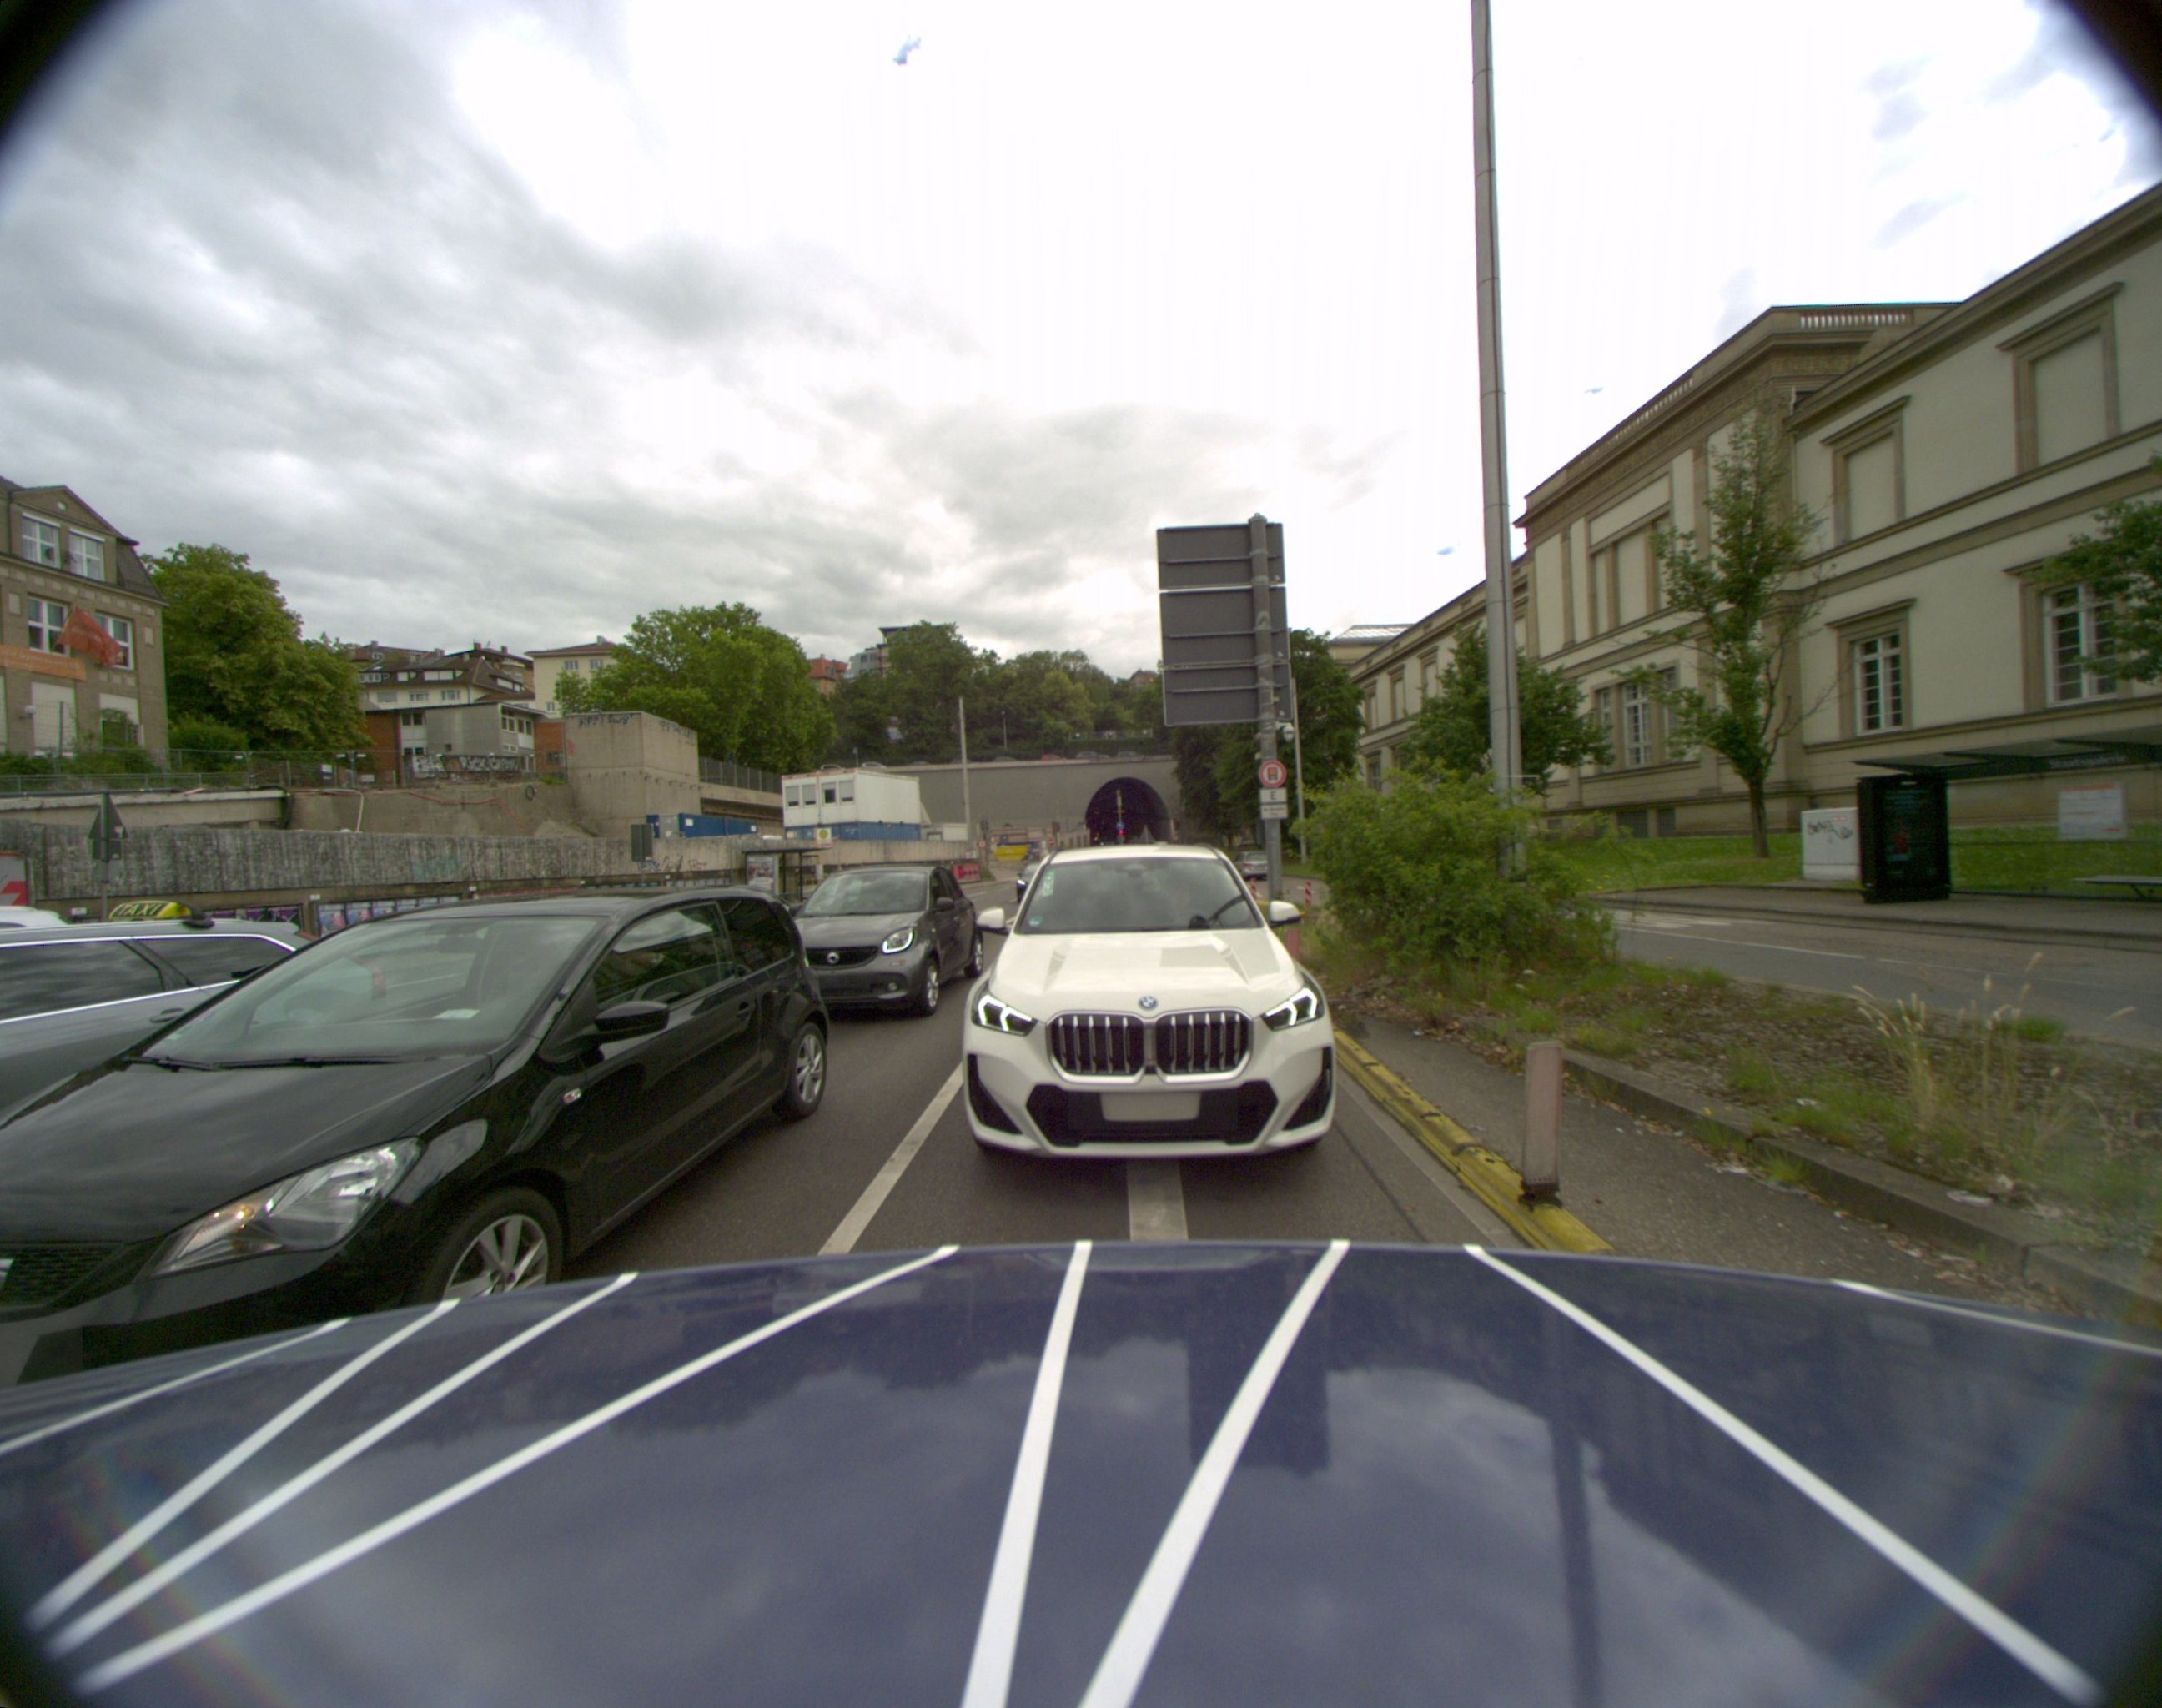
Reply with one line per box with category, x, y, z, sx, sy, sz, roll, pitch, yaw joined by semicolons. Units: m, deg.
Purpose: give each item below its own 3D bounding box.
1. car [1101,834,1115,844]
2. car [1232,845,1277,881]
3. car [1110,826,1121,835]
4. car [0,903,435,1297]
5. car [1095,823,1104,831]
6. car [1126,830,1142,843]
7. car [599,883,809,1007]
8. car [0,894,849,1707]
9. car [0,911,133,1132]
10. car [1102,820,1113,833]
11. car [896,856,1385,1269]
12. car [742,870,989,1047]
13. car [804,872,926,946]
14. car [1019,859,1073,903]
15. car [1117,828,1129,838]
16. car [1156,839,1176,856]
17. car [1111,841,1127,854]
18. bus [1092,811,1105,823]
car;3.654;-2.009;102.668;1.680;1.358;3.806;-2;1;1
car;9.311;0.443;41.122;1.836;1.736;4.001;-2;1;5
car;6.270;-4.264;138.504;1.778;1.609;3.802;-2;1;-1
car;-5.844;1.238;3.315;1.829;1.615;4.808;-2;1;1
car;4.558;-6.615;187.389;1.946;1.714;4.001;-2;1;4
car;7.187;-2.315;103.403;1.903;1.615;4.107;-2;0;0
car;-5.385;1.230;11.237;1.665;1.423;2.714;-2;1;1
car;-2.559;1.050;3.354;1.829;1.450;3.700;-2;1;1
car;-9.094;1.349;4.457;1.680;1.615;4.209;-2;1;1
car;5.543;-5.743;160.678;2.203;2.493;4.758;-2;1;2
car;0.275;0.882;5.010;1.987;1.615;3.670;-2;1;1
car;-2.241;1.015;8.903;1.720;1.535;3.575;-2;0;2
car;-4.905;1.204;17.824;1.680;1.358;3.806;-2;1;1
car;-1.284;1.006;29.341;1.680;1.450;3.807;-2;1;3
car;6.727;-3.304;121.815;1.646;1.469;3.574;-2;0;-2
car;8.801;-0.652;78.772;1.902;1.615;4.110;-2;0;6
car;4.232;-0.719;85.373;1.680;1.358;3.806;-2;1;1
bus;4.948;-10.556;217.083;3.171;3.129;9.118;-2;1;-1
